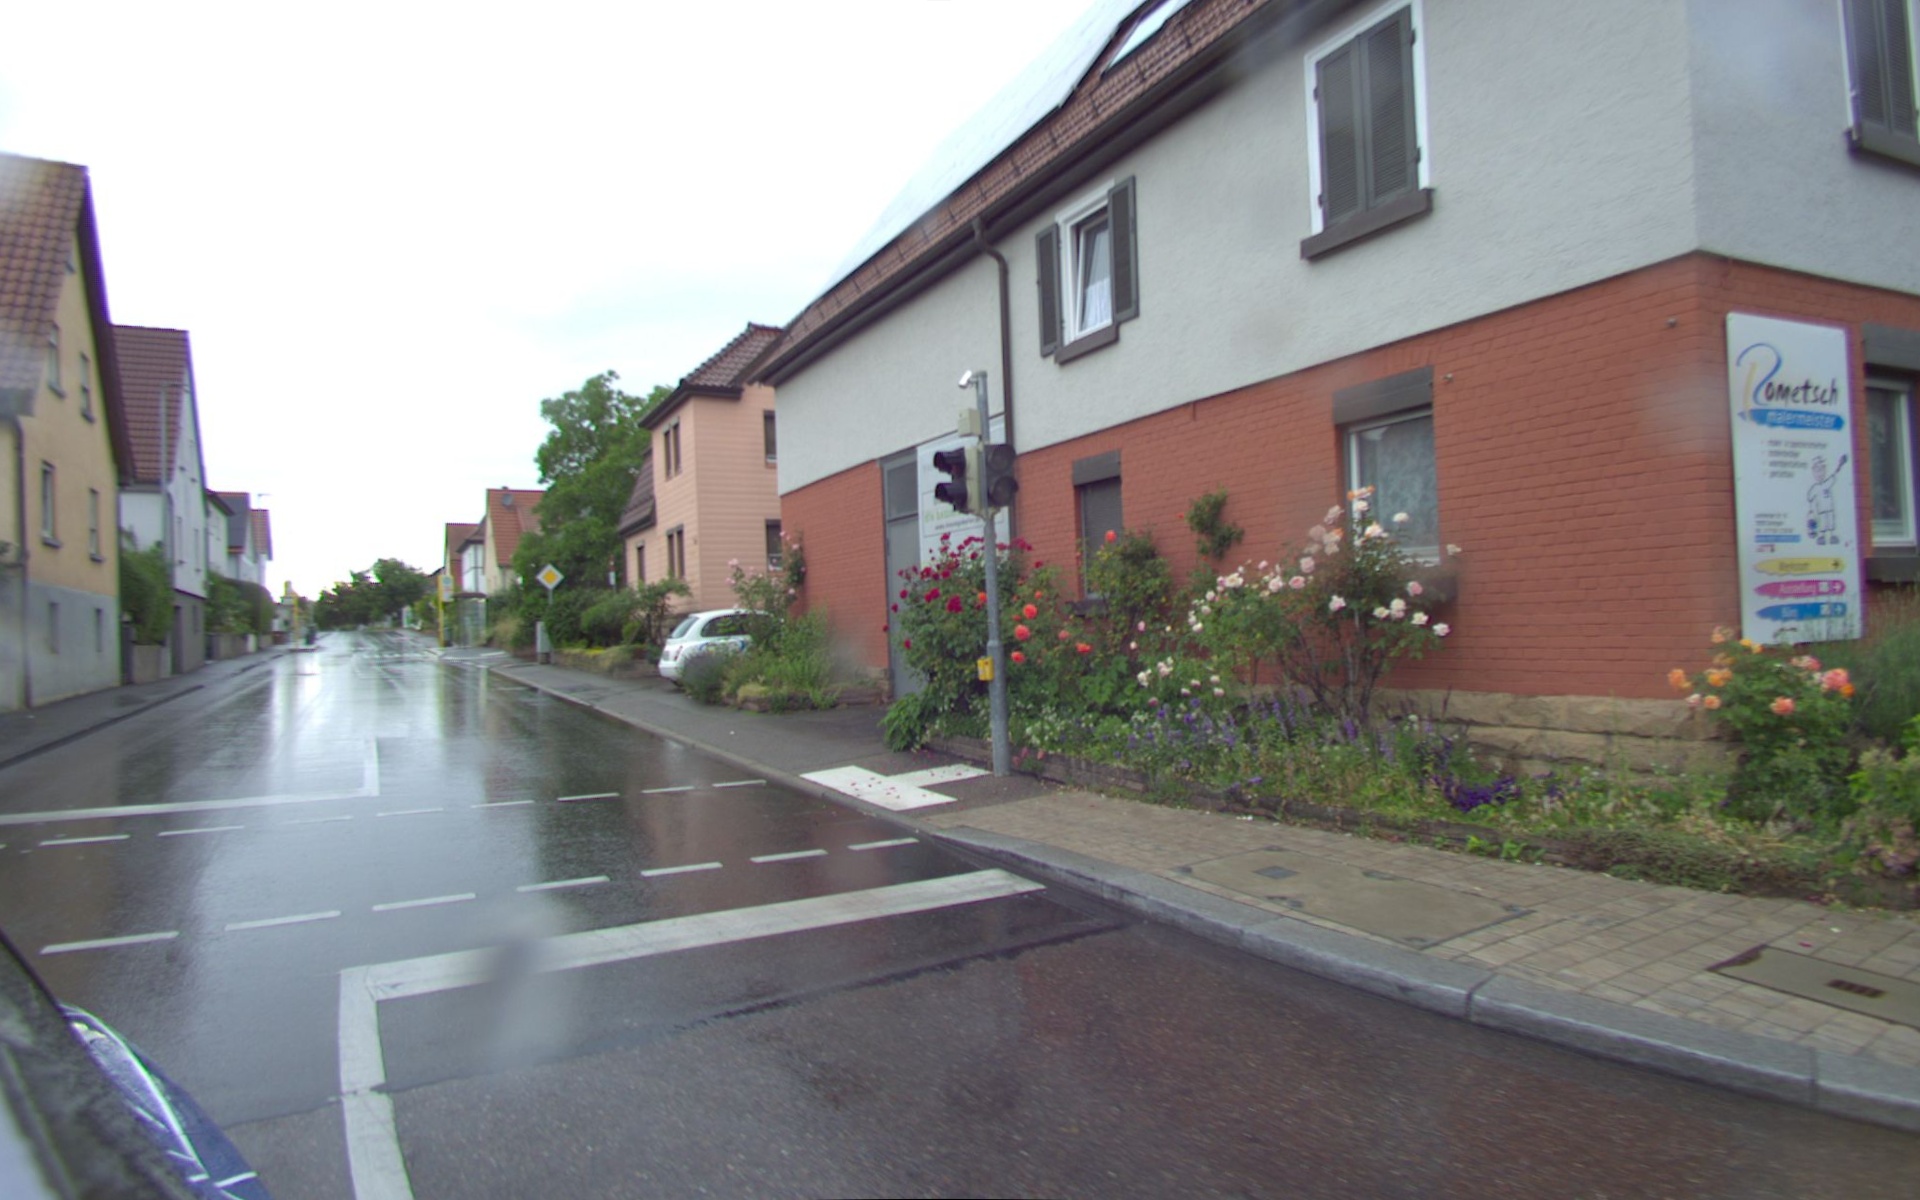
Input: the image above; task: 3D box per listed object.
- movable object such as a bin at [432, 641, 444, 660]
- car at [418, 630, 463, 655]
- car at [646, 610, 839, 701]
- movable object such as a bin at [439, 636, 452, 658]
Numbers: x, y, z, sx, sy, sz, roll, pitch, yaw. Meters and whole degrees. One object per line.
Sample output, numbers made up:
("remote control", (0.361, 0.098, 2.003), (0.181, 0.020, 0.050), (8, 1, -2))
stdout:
("movable object such as a bin", (-27.561, 2.669, 53.438), (0.462, 0.946, 0.456), (-5, -1, -29))
("car", (-57.031, 4.680, 111.140), (3.936, 1.989, 1.878), (14, -10, -33))
("car", (-4.472, 1.086, 20.867), (3.496, 1.540, 1.668), (-3, 0, -30))
("movable object such as a bin", (-27.484, 2.512, 54.091), (0.545, 1.090, 0.529), (-4, 0, -29))
